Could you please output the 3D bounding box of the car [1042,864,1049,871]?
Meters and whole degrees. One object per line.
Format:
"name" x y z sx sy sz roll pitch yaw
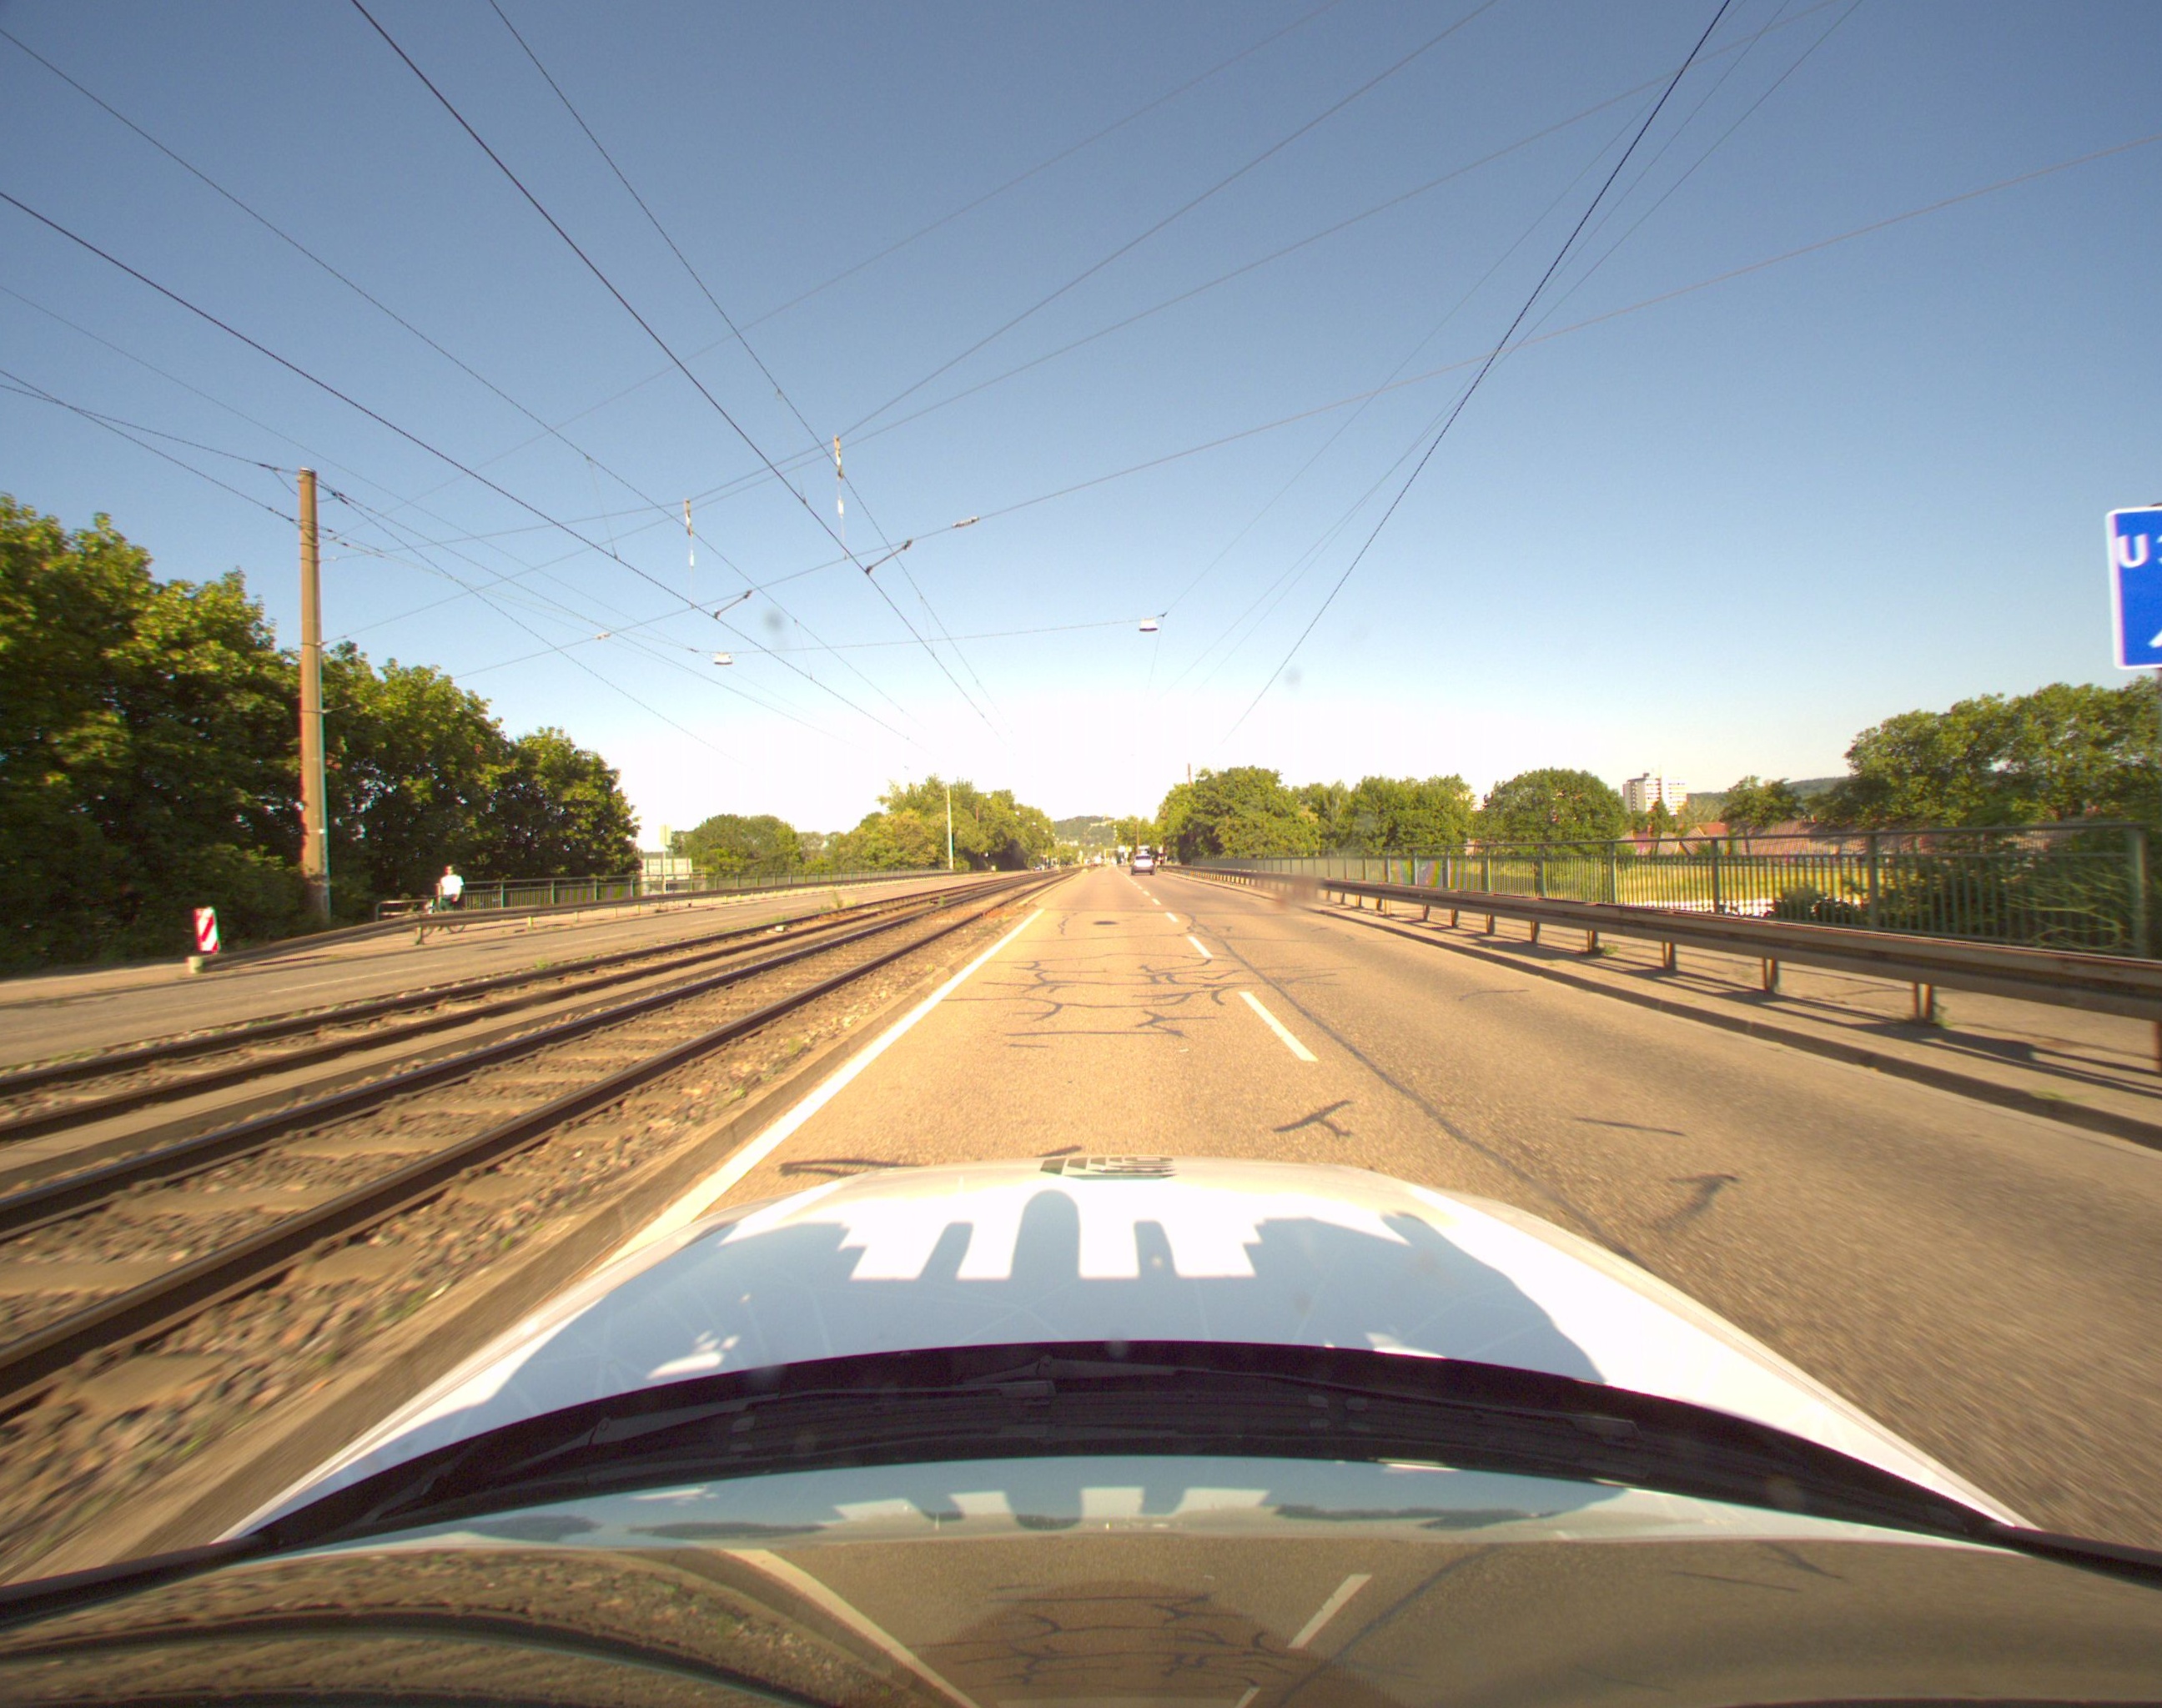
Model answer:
"car" -11.021 4.278 251.630 1.979 2.057 3.947 0 0 2

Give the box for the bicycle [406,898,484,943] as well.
"bicycle" -16.983 1.758 21.806 0.538 1.043 1.926 0 0 2

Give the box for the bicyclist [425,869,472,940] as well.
"bicyclist" -16.985 1.342 21.886 0.538 1.862 0.875 0 -1 1

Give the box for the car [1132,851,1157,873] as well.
"car" 5.224 0.671 67.043 1.880 1.693 4.261 -2 0 4

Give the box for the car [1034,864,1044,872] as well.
"car" -9.149 3.018 178.250 1.986 1.618 4.001 0 0 1
